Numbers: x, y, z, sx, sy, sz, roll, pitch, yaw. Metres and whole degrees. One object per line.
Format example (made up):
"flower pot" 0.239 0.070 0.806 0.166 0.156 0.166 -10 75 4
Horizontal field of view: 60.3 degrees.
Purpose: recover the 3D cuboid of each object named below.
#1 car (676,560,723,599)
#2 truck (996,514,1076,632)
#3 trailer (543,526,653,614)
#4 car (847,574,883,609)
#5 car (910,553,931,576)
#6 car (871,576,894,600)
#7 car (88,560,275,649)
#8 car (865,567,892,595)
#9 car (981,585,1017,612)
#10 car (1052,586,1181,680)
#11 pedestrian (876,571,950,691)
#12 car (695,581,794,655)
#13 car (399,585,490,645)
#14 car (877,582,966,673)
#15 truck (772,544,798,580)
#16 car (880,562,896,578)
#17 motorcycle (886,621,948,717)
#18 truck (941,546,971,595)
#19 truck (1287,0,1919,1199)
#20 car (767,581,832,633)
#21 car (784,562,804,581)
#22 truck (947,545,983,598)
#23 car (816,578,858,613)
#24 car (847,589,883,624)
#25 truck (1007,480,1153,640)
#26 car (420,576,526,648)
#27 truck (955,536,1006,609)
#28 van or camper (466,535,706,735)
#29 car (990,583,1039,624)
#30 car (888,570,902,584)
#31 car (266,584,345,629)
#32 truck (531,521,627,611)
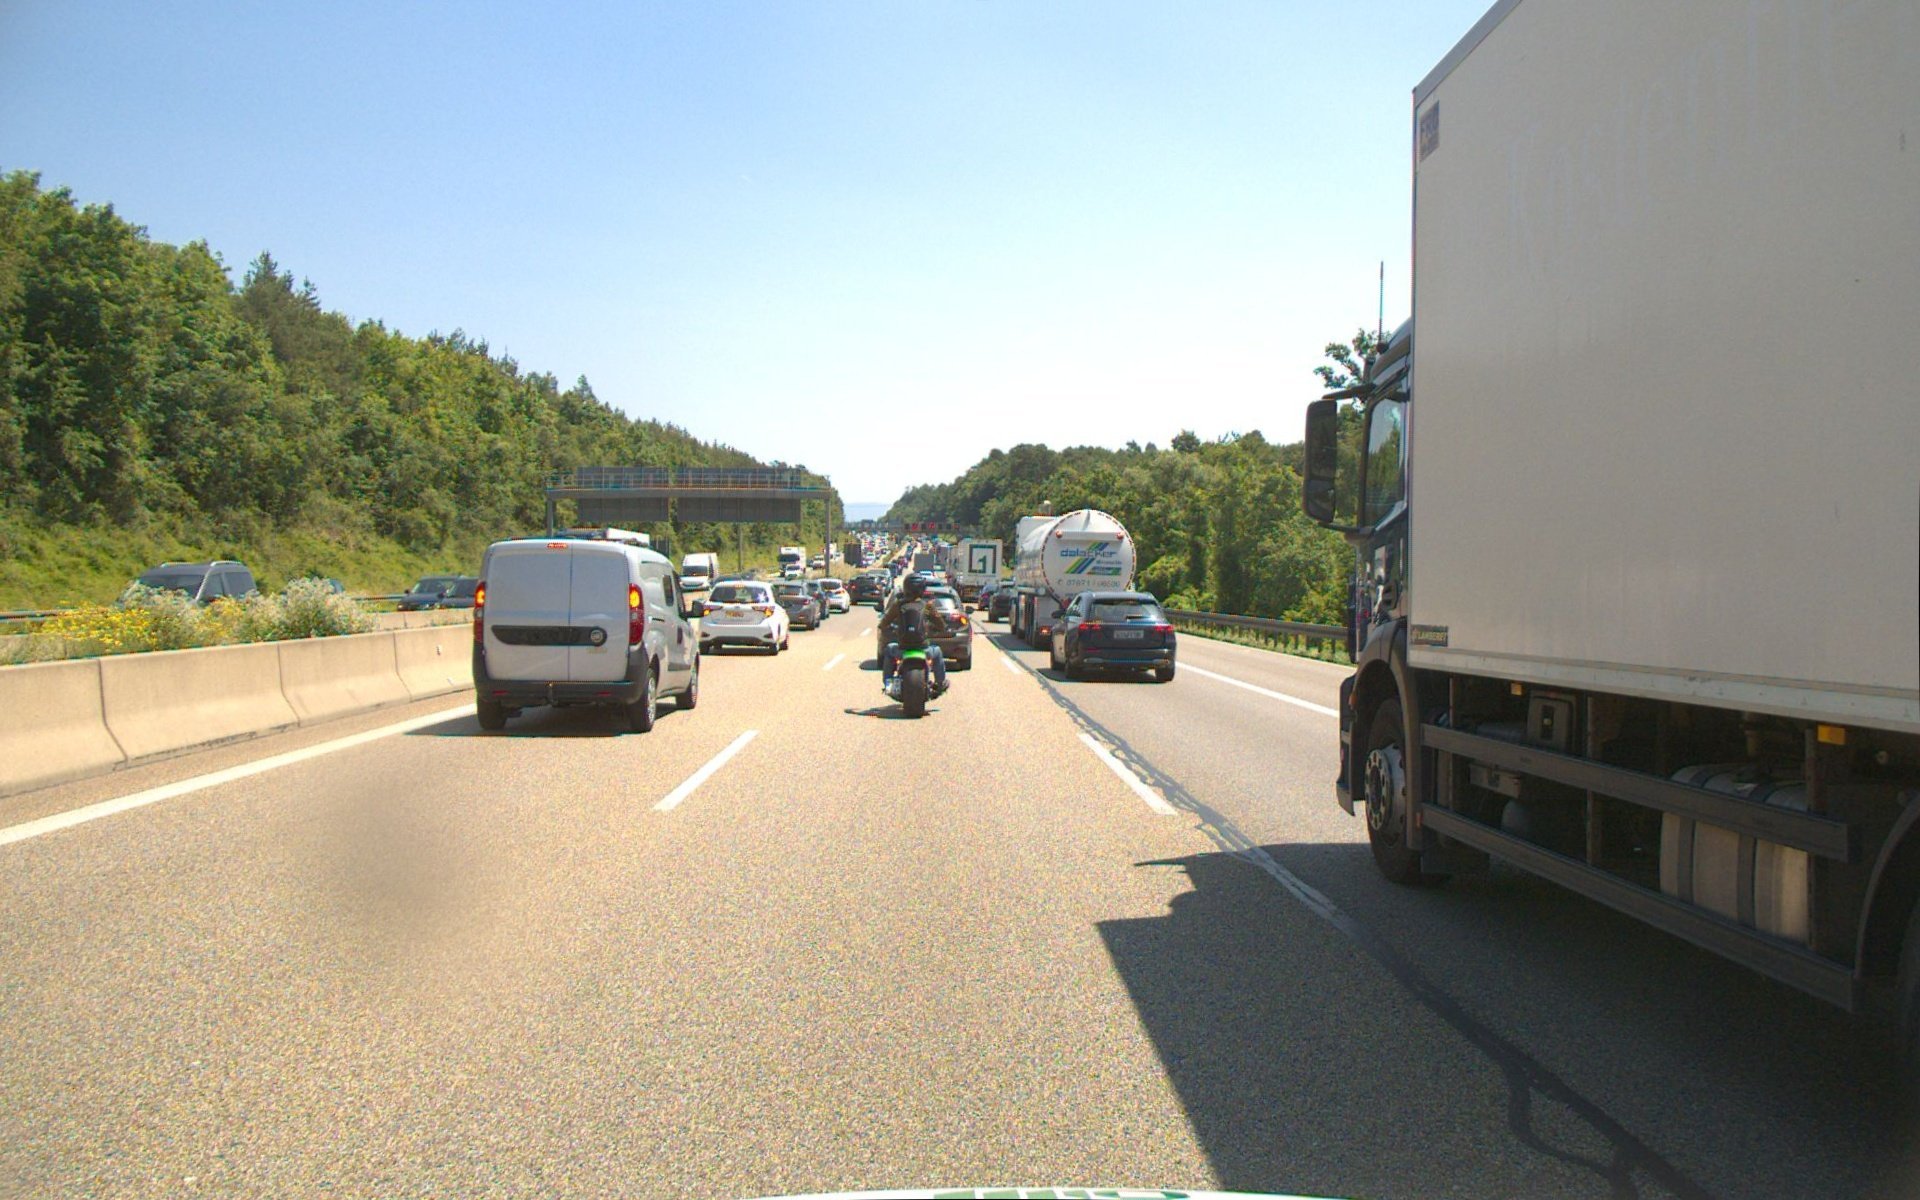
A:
"car" -16.724 -1.305 106.488 1.953 2.418 7.363 0 1 -1
"truck" 2.391 -0.823 53.308 1.954 3.584 4.748 -2 0 -4
"trailer" -20.875 -1.609 96.414 3.649 4.607 13.327 -2 0 -1
"car" -5.281 -0.478 92.765 1.842 1.892 3.999 0 1 -1
"car" -4.719 -4.191 196.308 2.454 2.632 5.015 0 1 -1
"car" -7.211 -1.098 153.847 1.953 2.049 3.999 -2 0 -1
"car" -15.371 0.097 32.915 1.651 1.585 4.421 -2 0 -1
"car" -6.365 -1.480 129.921 1.890 2.049 3.999 -2 0 -1
"car" 2.067 -0.106 88.663 1.751 1.398 3.802 0 1 -1
"car" 2.663 0.520 28.955 1.791 1.496 3.999 1 1 -1
"pedestrian" -0.561 0.365 20.087 0.832 1.385 0.961 -2 0 0
"car" -4.570 0.338 35.523 1.665 1.504 3.999 0 1 -1
"car" -15.318 0.444 49.297 1.609 1.655 3.542 -2 0 -1
"car" -0.742 0.473 31.113 1.502 1.536 3.999 -2 0 -2
"truck" -24.202 -5.205 229.359 2.709 4.823 10.469 0 1 -1
"car" -9.304 -3.876 214.899 1.953 2.049 3.999 0 1 -1
"motorcycle" -0.500 0.799 19.861 0.677 1.033 2.121 0 0 0
"truck" -0.460 -3.199 181.656 2.972 5.229 9.980 1 1 -1
"truck" 3.507 -0.602 5.446 2.634 3.943 9.778 -3 0 -1
"car" -4.858 0.185 50.566 1.665 1.504 3.999 0 1 -1
"car" -18.908 -3.233 188.444 1.842 2.048 4.467 -3 0 -1
"truck" 0.421 -2.603 151.095 2.972 4.621 9.980 1 1 -1
"car" -5.481 -0.209 74.038 1.665 1.504 3.999 0 1 -1
"car" -5.856 0.381 101.961 1.953 2.049 3.999 -2 0 -1
"truck" 3.009 -0.933 44.346 2.927 3.735 9.285 -2 0 -1
"car" -12.127 0.296 41.409 1.609 1.655 3.542 -2 0 -1
"truck" 1.305 -1.850 111.483 2.972 4.621 9.980 1 1 -1
"van or camper" -3.912 0.345 17.999 1.759 1.925 4.158 0 0 -2
"car" 2.129 0.106 65.996 1.751 1.583 3.802 0 1 -1
"car" -9.209 -3.263 234.738 1.953 2.049 3.999 0 1 -1
"car" -23.203 0.203 58.737 1.381 1.534 3.706 0 1 -1
"truck" -20.732 -1.752 90.518 3.650 4.607 7.323 -2 0 -2
